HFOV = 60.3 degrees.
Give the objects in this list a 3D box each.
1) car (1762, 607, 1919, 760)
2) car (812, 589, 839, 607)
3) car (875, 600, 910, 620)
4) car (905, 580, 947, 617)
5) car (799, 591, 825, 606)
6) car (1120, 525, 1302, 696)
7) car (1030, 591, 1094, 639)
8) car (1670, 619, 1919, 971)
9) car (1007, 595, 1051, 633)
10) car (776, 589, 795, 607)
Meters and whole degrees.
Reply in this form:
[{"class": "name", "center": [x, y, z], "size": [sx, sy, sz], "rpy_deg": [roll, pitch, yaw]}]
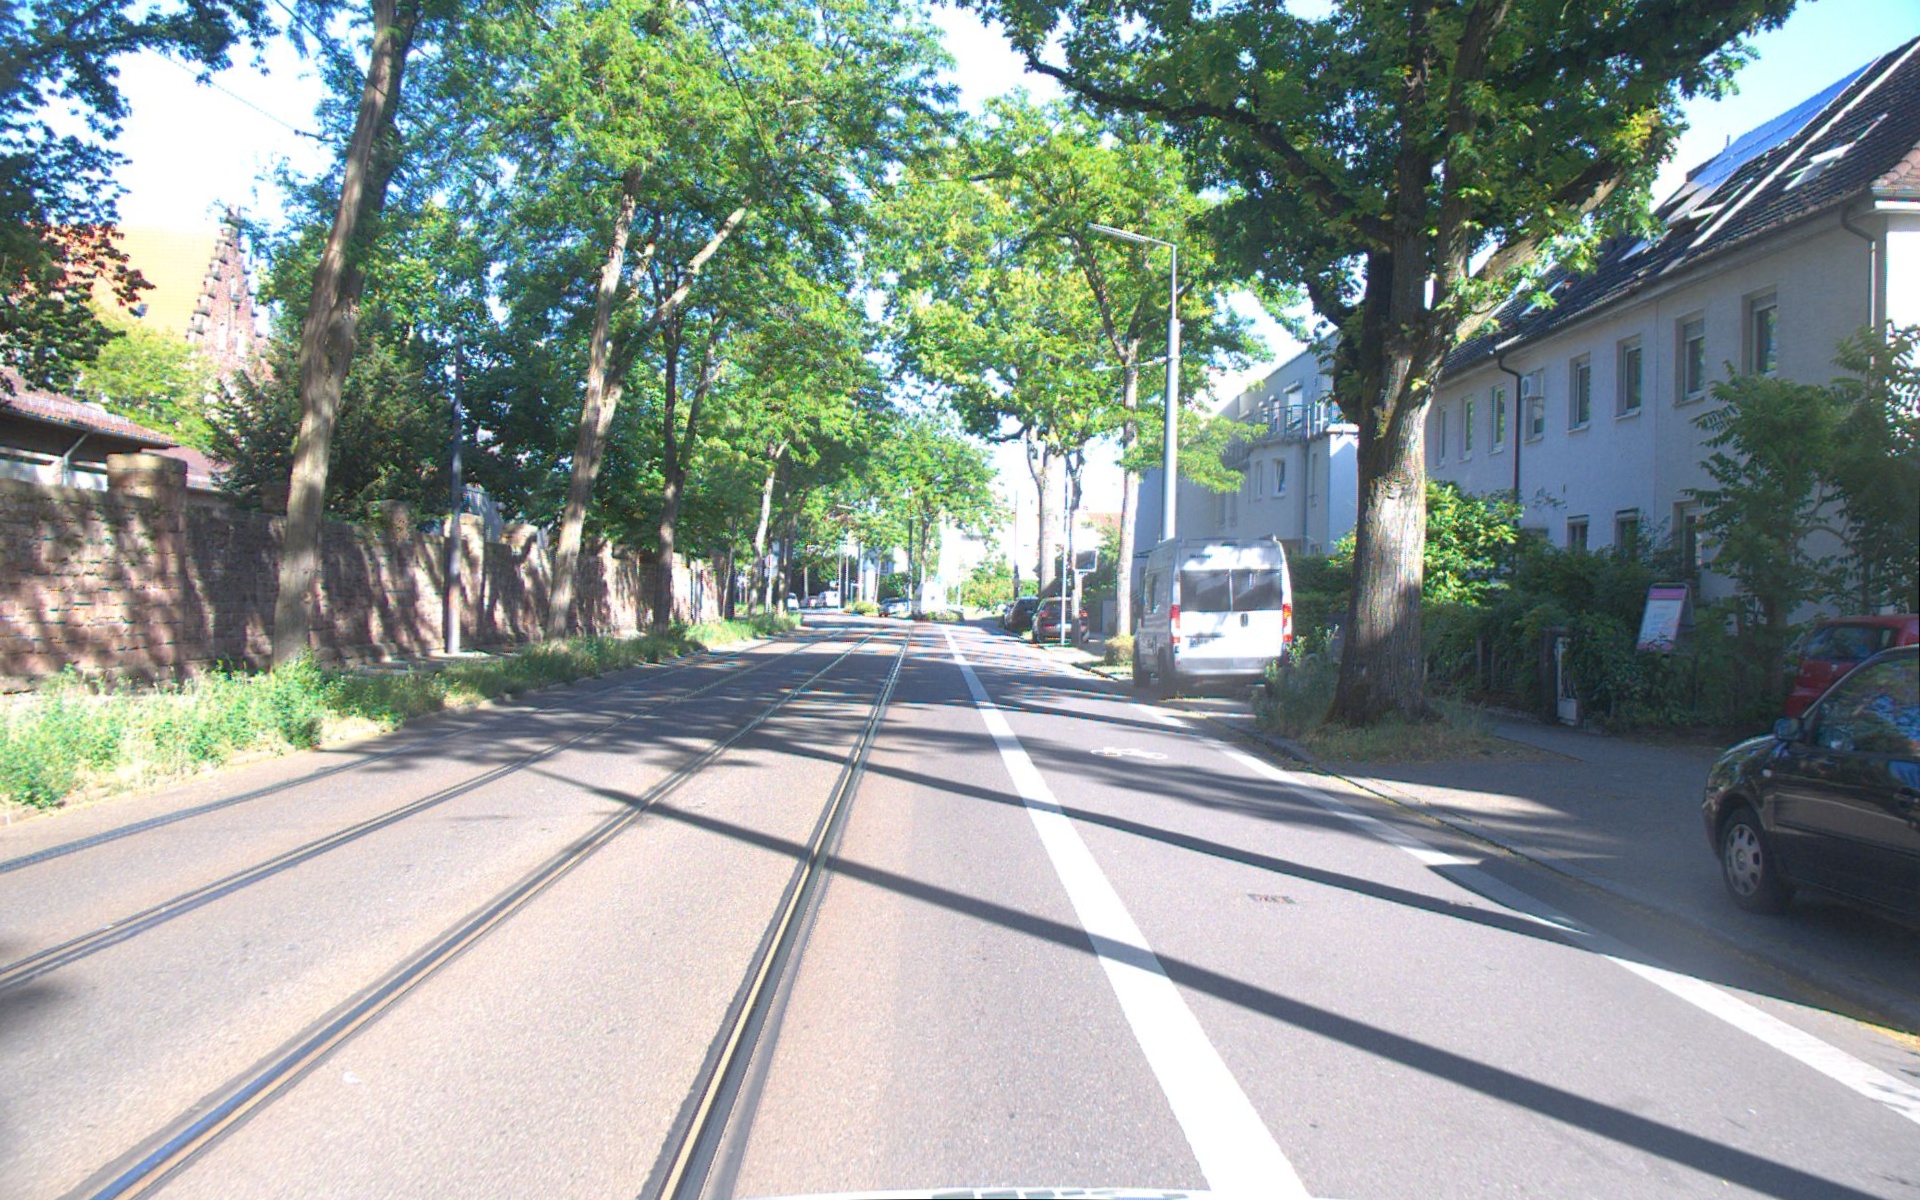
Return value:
[{"class": "car", "center": [10.468, 0.814, 17.408], "size": [3.340, 1.461, 1.728], "rpy_deg": [0, 0, -14]}, {"class": "car", "center": [-14.763, -0.208, 181.806], "size": [1.972, 1.943, 4.368], "rpy_deg": [-1, 0, -19]}, {"class": "car", "center": [-5.387, 0.785, 132.079], "size": [1.968, 1.588, 4.377], "rpy_deg": [1, 0, -13]}, {"class": "car", "center": [-2.389, -0.078, 114.340], "size": [1.960, 2.501, 4.492], "rpy_deg": [1, 0, -14]}, {"class": "car", "center": [-16.802, -0.171, 187.377], "size": [1.972, 1.704, 4.150], "rpy_deg": [-1, 0, -19]}, {"class": "car", "center": [4.258, 0.164, 29.044], "size": [2.200, 2.700, 5.583], "rpy_deg": [0, 0, -1]}, {"class": "car", "center": [3.730, 0.530, 61.003], "size": [1.962, 1.704, 4.391], "rpy_deg": [-1, 0, -2]}, {"class": "car", "center": [4.880, 0.852, 7.569], "size": [1.594, 1.422, 3.644], "rpy_deg": [-2, 0, -2]}, {"class": "car", "center": [3.273, 0.634, 78.302], "size": [1.961, 1.704, 4.394], "rpy_deg": [-1, 0, 3]}, {"class": "car", "center": [-17.385, -0.204, 165.251], "size": [1.830, 1.704, 4.168], "rpy_deg": [1, 0, -6]}]
